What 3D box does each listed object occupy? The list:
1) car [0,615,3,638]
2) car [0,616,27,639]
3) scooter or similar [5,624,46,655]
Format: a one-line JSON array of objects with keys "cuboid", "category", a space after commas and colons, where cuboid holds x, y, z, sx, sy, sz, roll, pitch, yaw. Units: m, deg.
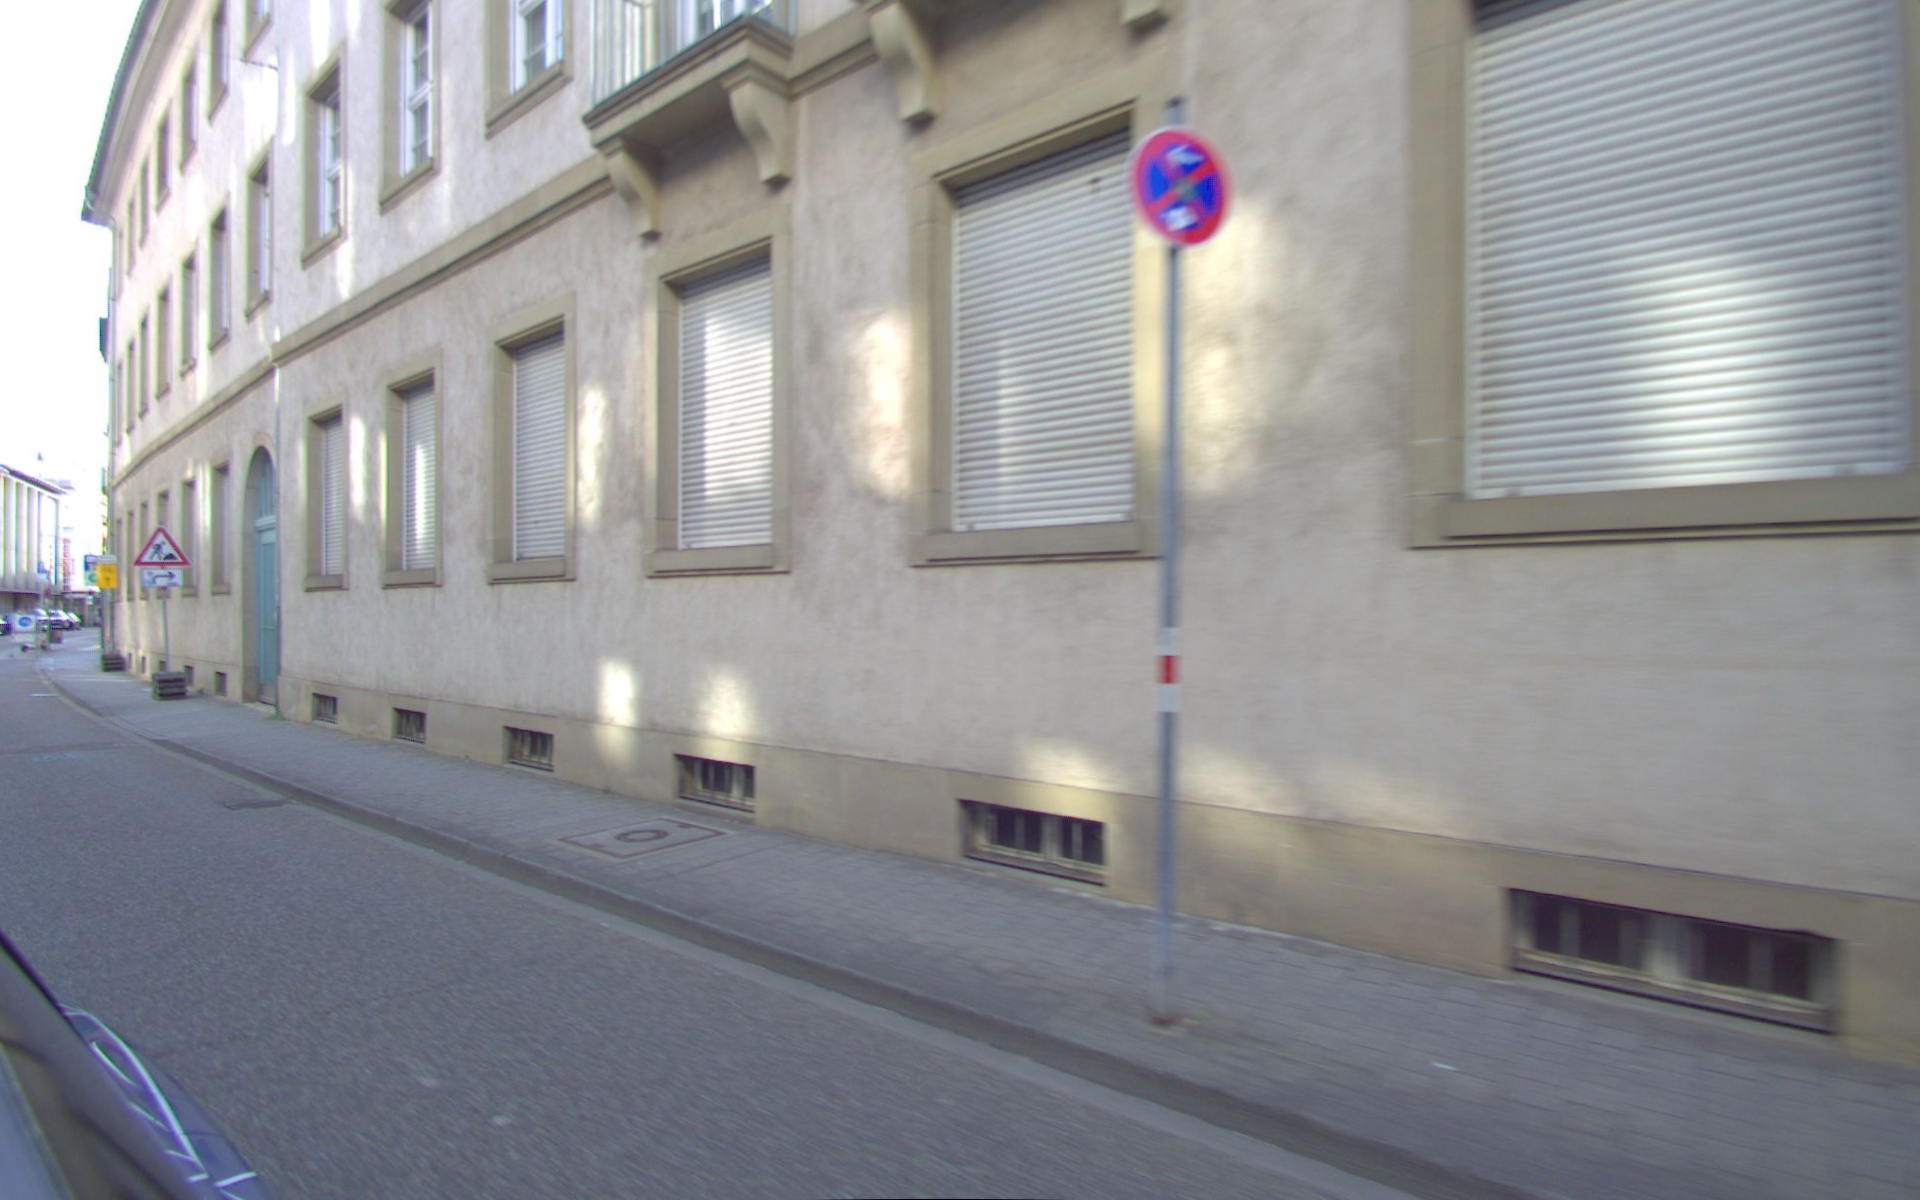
[{"cuboid": [-60.801, 1.677, 62.367, 1.934, 1.418, 4.207, -1, 0, -34], "category": "car"}, {"cuboid": [-64.356, 1.838, 67.906, 1.934, 1.418, 4.207, -1, 0, -34], "category": "car"}, {"cuboid": [-37.677, 1.584, 40.834, 0.461, 1.234, 1.301, 1, -3, -4], "category": "scooter or similar"}]
